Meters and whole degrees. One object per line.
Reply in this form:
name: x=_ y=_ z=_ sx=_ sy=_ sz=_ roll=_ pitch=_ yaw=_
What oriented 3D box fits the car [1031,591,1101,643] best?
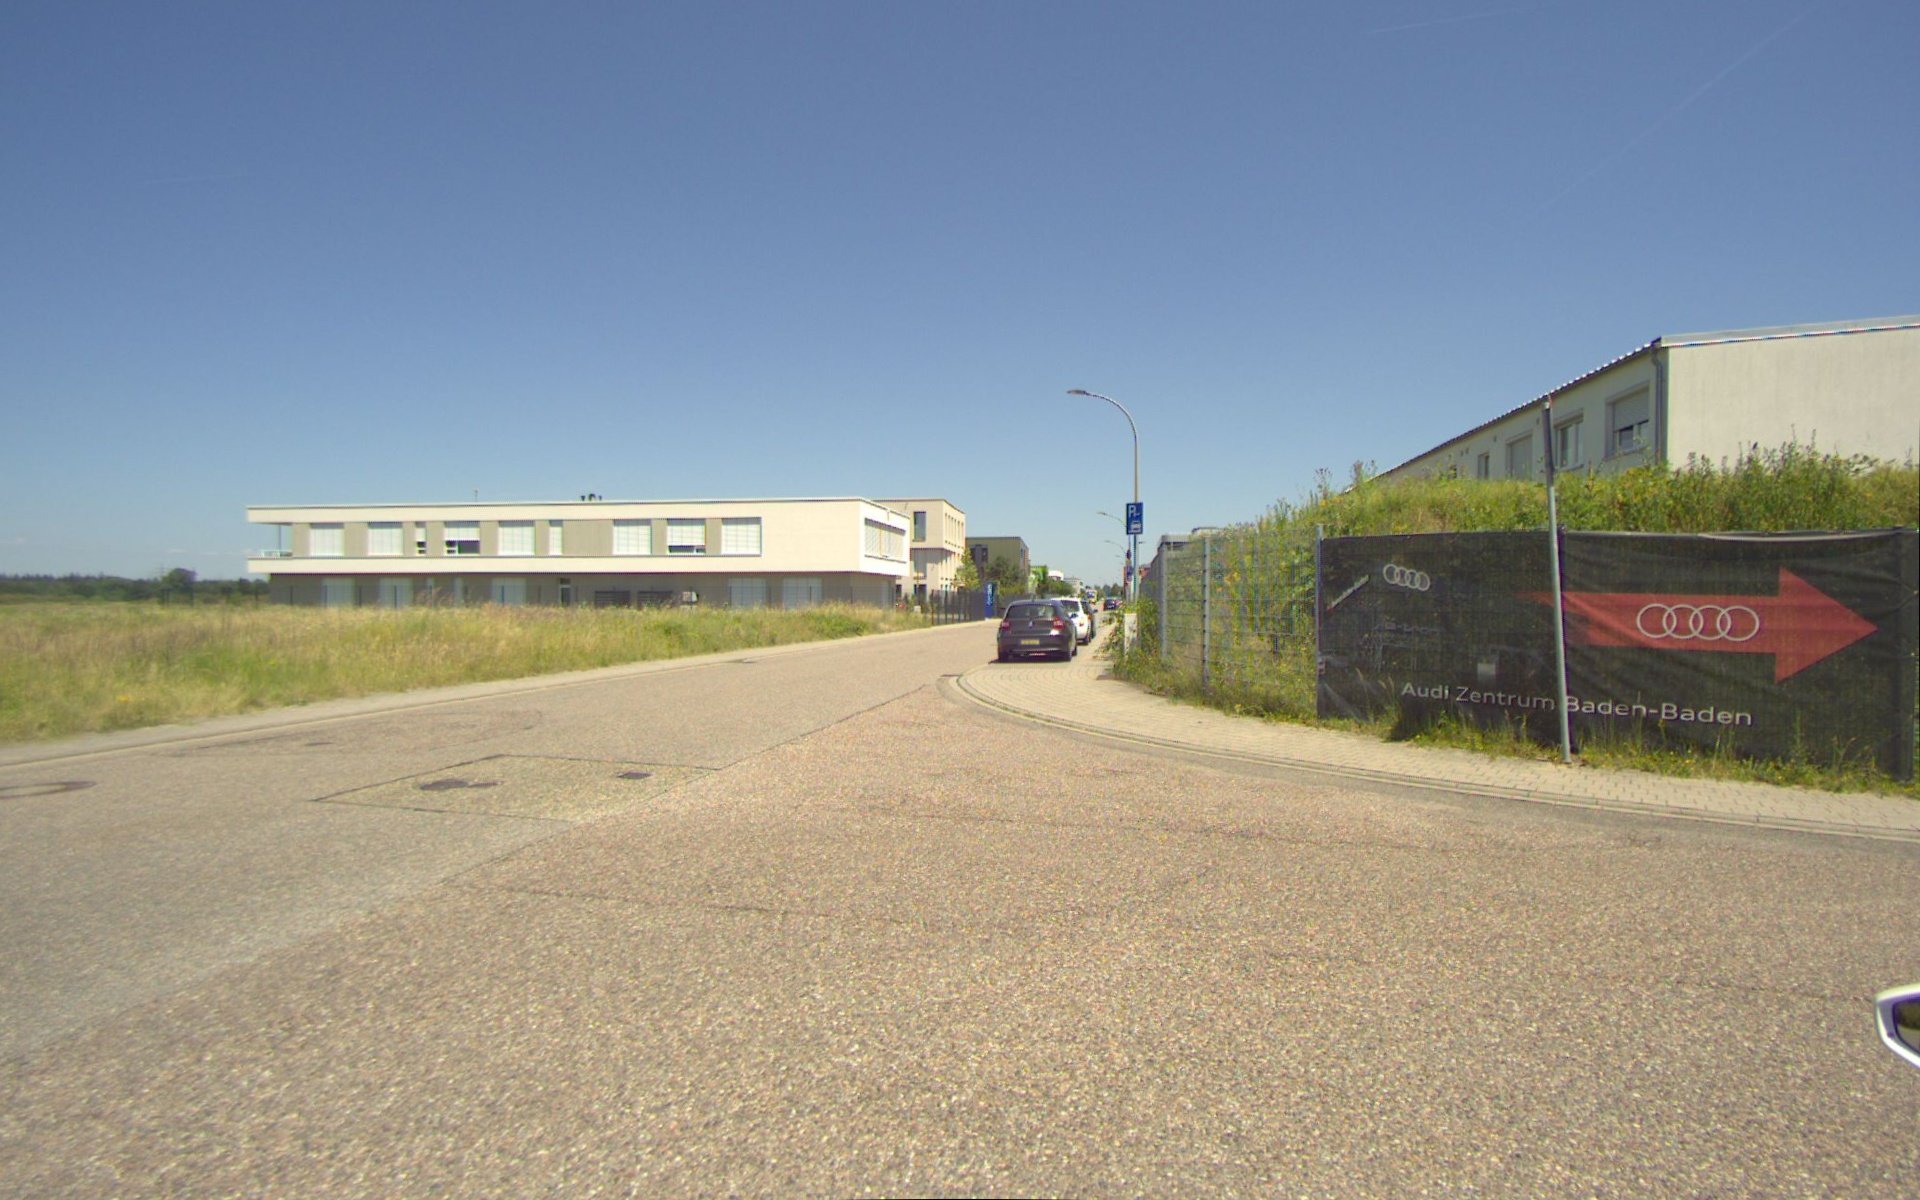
car: x=3.571 y=0.522 z=33.291 sx=1.875 sy=1.567 sz=4.002 roll=-2 pitch=0 yaw=12

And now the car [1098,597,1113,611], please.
car: x=19.352 y=0.483 z=133.630 sx=1.745 sy=1.751 sz=4.002 roll=2 pitch=1 yaw=9

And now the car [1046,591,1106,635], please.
car: x=4.547 y=0.480 z=38.855 sx=1.875 sy=1.567 sz=4.002 roll=-2 pitch=0 yaw=12

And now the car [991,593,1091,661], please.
car: x=2.041 y=0.599 z=24.211 sx=1.875 sy=1.467 sz=4.002 roll=-2 pitch=0 yaw=12

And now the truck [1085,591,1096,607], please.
truck: x=29.957 y=-0.228 z=231.015 sx=2.555 sy=3.592 sz=10.506 roll=-1 pitch=0 yaw=7
